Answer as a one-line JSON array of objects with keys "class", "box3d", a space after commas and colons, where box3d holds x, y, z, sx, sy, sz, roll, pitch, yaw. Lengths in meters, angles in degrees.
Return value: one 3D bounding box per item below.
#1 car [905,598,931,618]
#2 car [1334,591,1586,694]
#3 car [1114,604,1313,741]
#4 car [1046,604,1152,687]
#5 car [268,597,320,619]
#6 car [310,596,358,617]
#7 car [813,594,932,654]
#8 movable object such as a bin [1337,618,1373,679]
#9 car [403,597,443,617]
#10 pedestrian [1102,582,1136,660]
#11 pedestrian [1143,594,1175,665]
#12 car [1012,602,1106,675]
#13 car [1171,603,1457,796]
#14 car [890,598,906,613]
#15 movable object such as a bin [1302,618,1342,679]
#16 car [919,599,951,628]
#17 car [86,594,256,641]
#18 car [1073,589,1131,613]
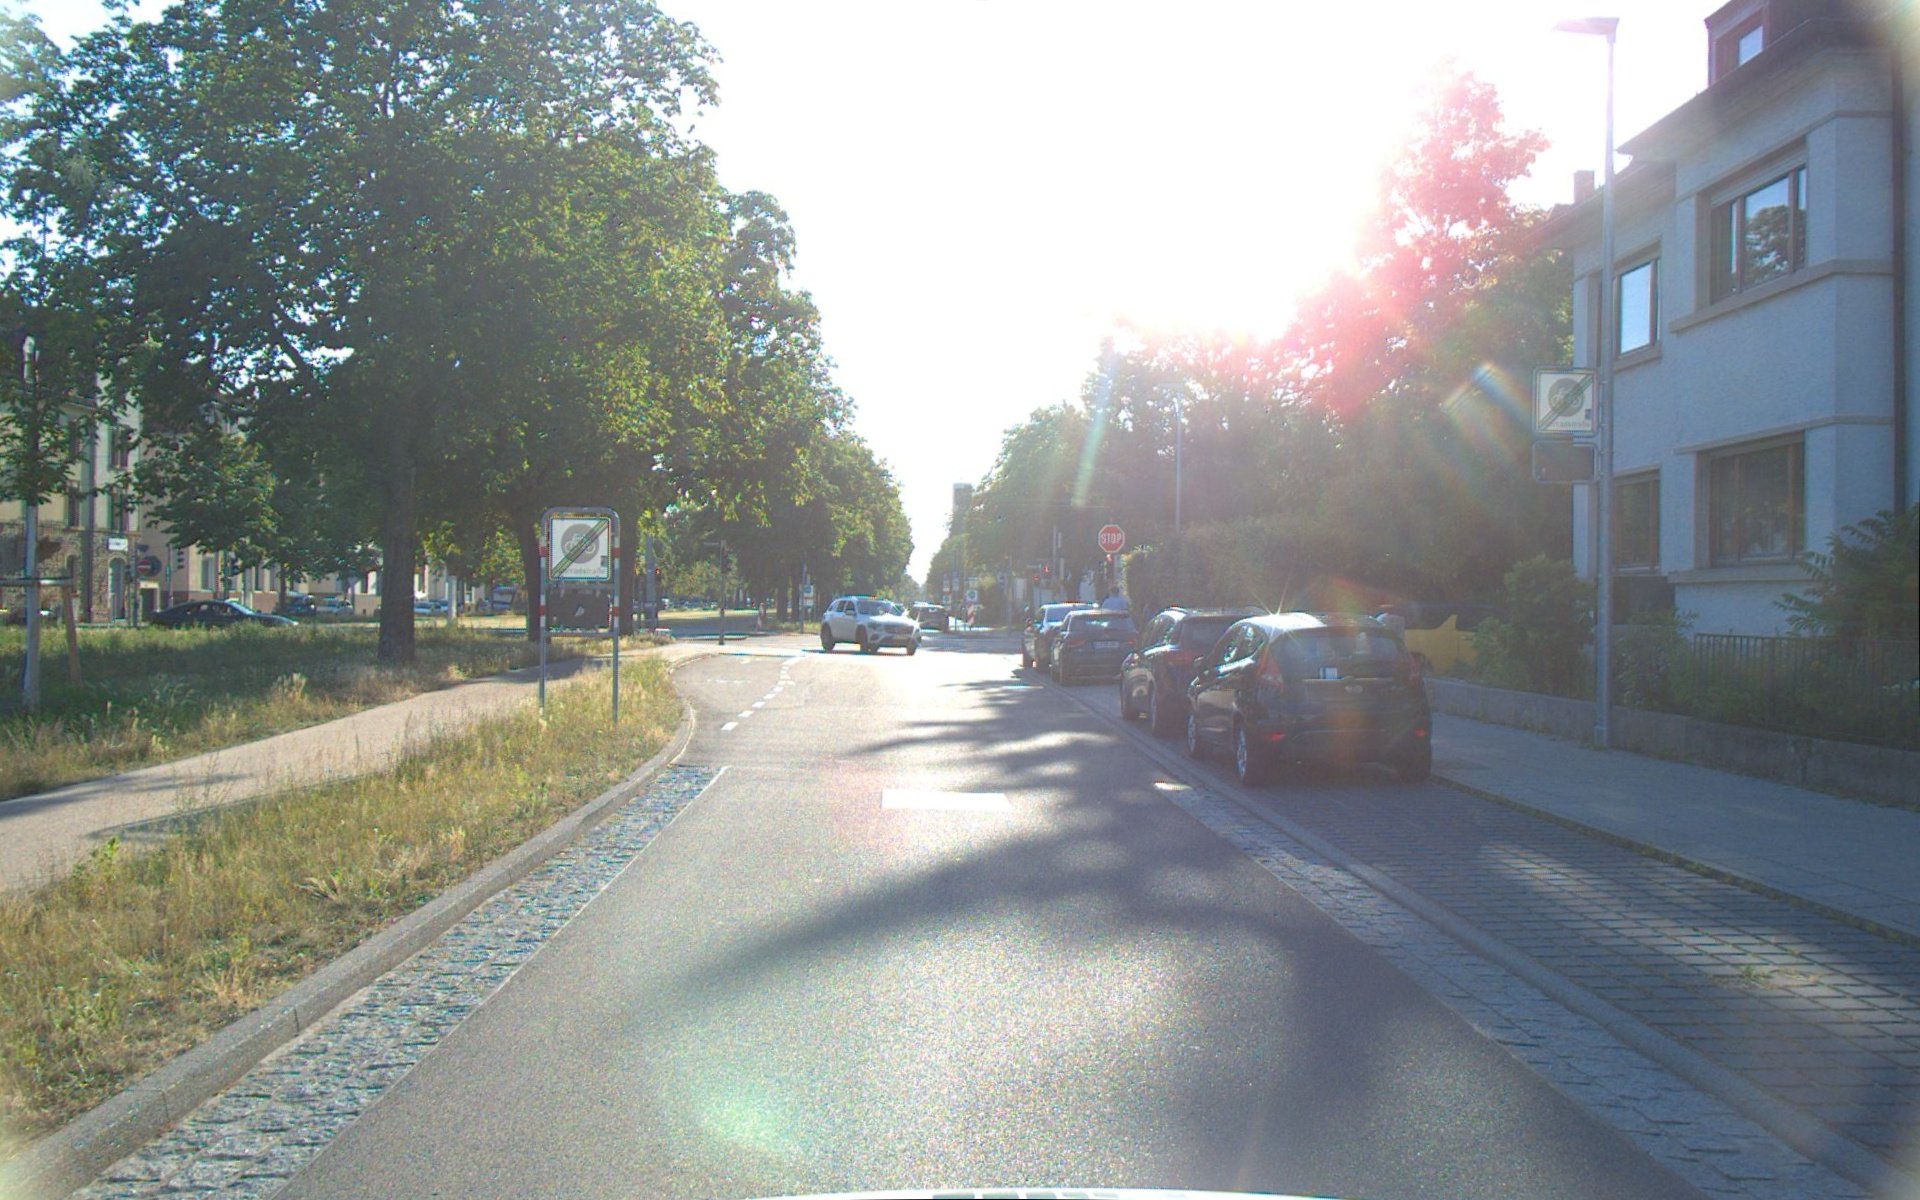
[{"class": "car", "box3d": [-3.124, 0.561, 123.186, 1.808, 1.418, 3.828, 1, 0, -1]}, {"class": "car", "box3d": [8.121, 0.666, 27.070, 3.560, 1.522, 1.781, -2, 0, -2]}, {"class": "car", "box3d": [3.072, 0.823, 20.848, 1.711, 1.500, 4.253, 0, 0, -2]}, {"class": "car", "box3d": [2.657, 0.840, 32.451, 1.608, 1.452, 3.935, -2, 0, -2]}, {"class": "car", "box3d": [-44.648, 0.501, 110.951, 1.701, 1.422, 3.795, 1, 1, 5]}, {"class": "car", "box3d": [-44.328, 0.465, 117.275, 1.701, 1.452, 3.794, 1, 0, 5]}, {"class": "car", "box3d": [-2.763, 0.710, 51.154, 1.872, 1.706, 4.379, 1, 0, -31]}, {"class": "movable object such as a bin", "box3d": [6.969, 0.854, 29.202, 0.498, 1.061, 0.416, 1, 0, -7]}, {"class": "car", "box3d": [-39.225, 0.502, 120.899, 1.702, 1.452, 3.791, 1, 0, -1]}, {"class": "pedestrian", "box3d": [3.922, 0.503, 40.894, 0.657, 1.898, 0.881, 1, 0, -5]}, {"class": "pedestrian", "box3d": [4.921, 0.732, 40.900, 0.656, 1.738, 0.622, 1, 0, -4]}, {"class": "car", "box3d": [2.262, 0.848, 38.831, 1.821, 1.569, 4.872, 0, 0, -1]}, {"class": "car", "box3d": [3.191, 0.828, 15.713, 1.684, 1.497, 3.982, -2, 0, -2]}, {"class": "car", "box3d": [-8.498, 0.730, 225.860, 2.090, 2.049, 3.901, 1, 0, -1]}, {"class": "movable object such as a bin", "box3d": [6.412, 0.852, 29.283, 0.498, 1.061, 0.658, 1, 0, -7]}, {"class": "car", "box3d": [-1.330, 0.725, 89.237, 1.607, 1.476, 3.308, 1, 0, 1]}, {"class": "car", "box3d": [-25.892, 0.568, 54.412, 4.677, 1.459, 1.810, 1, 0, -10]}, {"class": "car", "box3d": [9.486, 0.059, 110.665, 3.703, 1.552, 1.743, 0, 2, -2]}]
